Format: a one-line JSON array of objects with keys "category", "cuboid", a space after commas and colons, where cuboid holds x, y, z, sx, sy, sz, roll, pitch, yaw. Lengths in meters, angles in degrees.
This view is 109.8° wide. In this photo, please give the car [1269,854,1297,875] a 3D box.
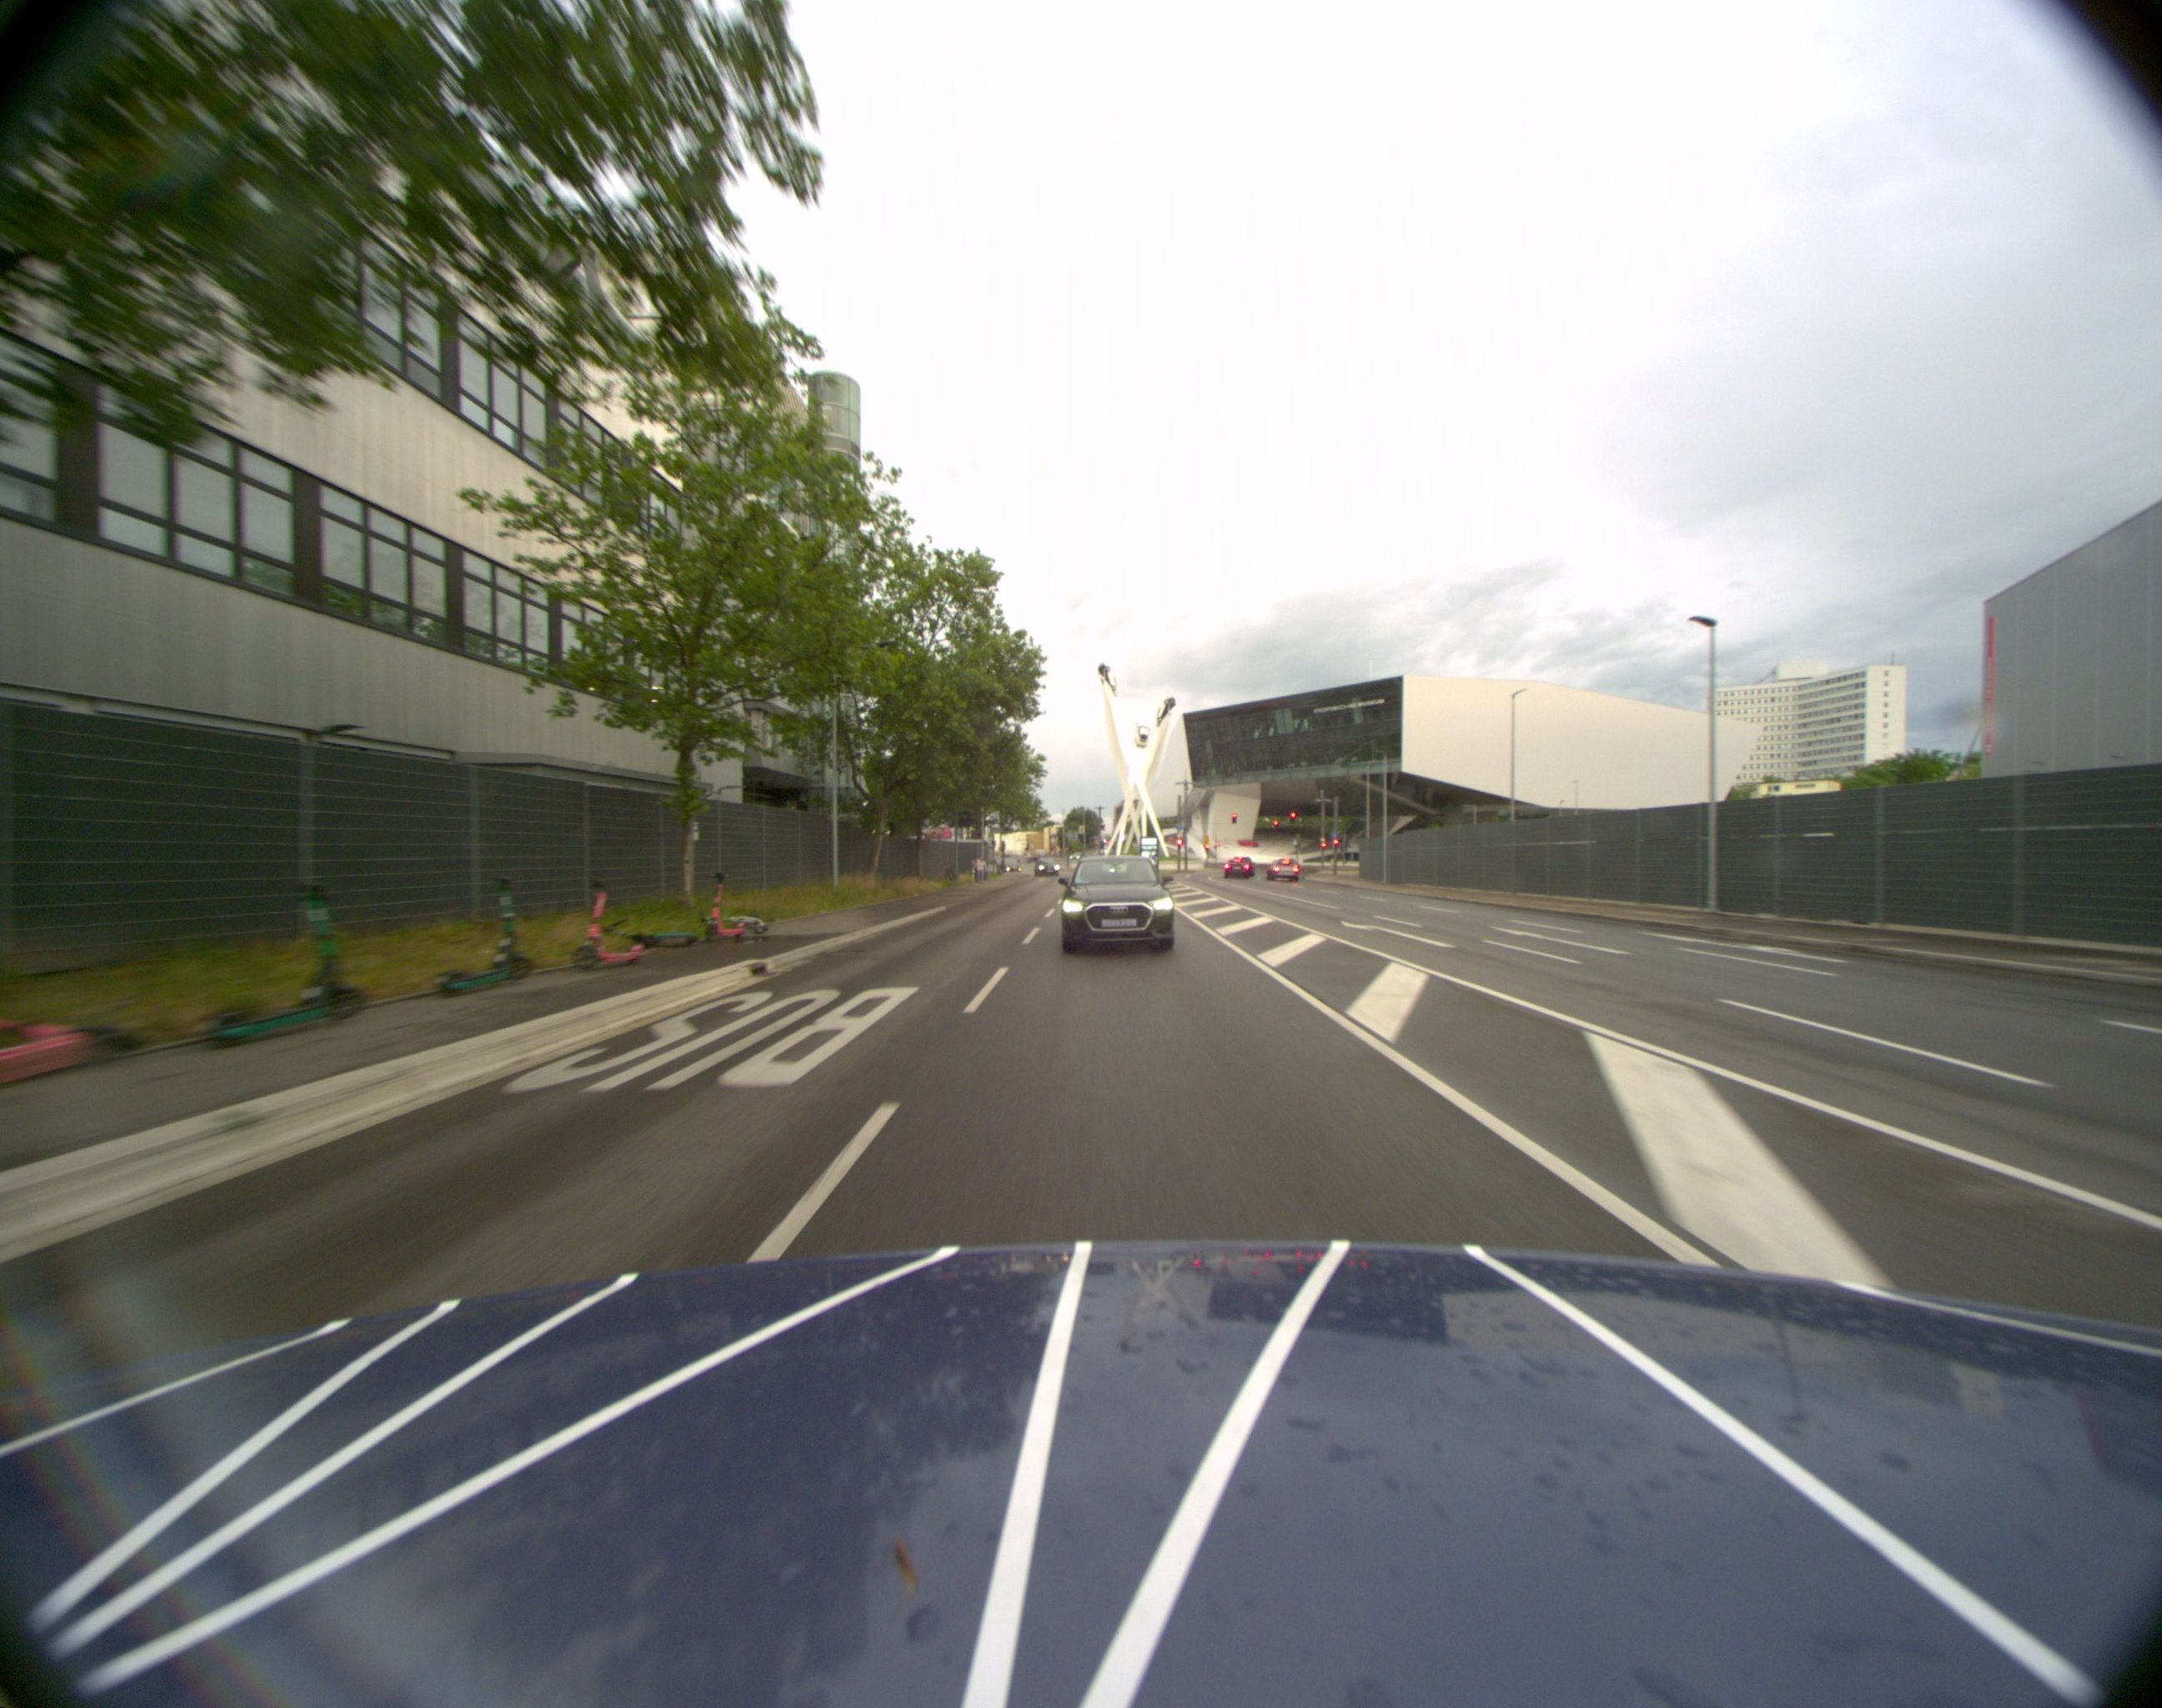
[{"category": "car", "cuboid": [16.437, 0.813, 61.683, 1.861, 1.641, 3.793, 0, 0, 21]}]

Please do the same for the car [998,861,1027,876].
[{"category": "car", "cuboid": [-7.295, 1.551, 80.661, 1.884, 1.509, 3.843, 1, 0, -24]}]

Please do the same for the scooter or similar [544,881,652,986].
[{"category": "scooter or similar", "cuboid": [-6.549, 1.034, 10.377, 0.437, 1.288, 1.368, 0, 0, 9]}]

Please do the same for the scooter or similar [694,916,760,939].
[{"category": "scooter or similar", "cuboid": [-7.206, 1.488, 15.460, 1.184, 0.309, 1.200, 0, 0, -27]}]

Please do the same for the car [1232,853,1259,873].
[{"category": "car", "cuboid": [13.895, 0.740, 63.929, 1.878, 1.641, 3.857, 0, 0, 18]}]

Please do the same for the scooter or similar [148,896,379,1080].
[{"category": "scooter or similar", "cuboid": [-6.664, 1.026, 6.283, 0.437, 1.288, 1.301, 0, 0, 5]}]

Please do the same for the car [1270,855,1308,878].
[{"category": "car", "cuboid": [14.244, 0.842, 51.921, 2.266, 1.469, 4.053, 0, 0, 19]}]

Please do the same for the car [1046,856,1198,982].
[{"category": "car", "cuboid": [0.541, 0.864, 12.548, 1.951, 1.609, 5.277, -1, 0, 0]}]

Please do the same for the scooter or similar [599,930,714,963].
[{"category": "scooter or similar", "cuboid": [-7.035, 1.519, 12.635, 1.098, 0.343, 1.260, 0, 0, 25]}]

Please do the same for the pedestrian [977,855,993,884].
[{"category": "pedestrian", "cuboid": [-5.507, 0.879, 43.660, 0.723, 1.657, 0.833, 2, 1, 1]}]

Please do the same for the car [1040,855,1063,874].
[{"category": "car", "cuboid": [-2.420, 0.887, 63.011, 1.881, 1.485, 4.076, 1, 0, -2]}]

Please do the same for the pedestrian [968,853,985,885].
[{"category": "pedestrian", "cuboid": [-5.510, 0.780, 40.105, 0.723, 1.610, 0.833, 2, 1, 1]}]

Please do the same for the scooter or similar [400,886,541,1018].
[{"category": "scooter or similar", "cuboid": [-6.709, 1.031, 8.425, 0.437, 1.288, 1.301, 0, 0, 5]}]

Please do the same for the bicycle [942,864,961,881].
[{"category": "bicycle", "cuboid": [-7.274, 1.024, 42.848, 0.727, 0.870, 1.905, -1, 1, 1]}]

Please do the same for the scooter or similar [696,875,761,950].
[{"category": "scooter or similar", "cuboid": [-6.503, 1.056, 14.085, 0.437, 1.277, 1.301, 0, 0, 9]}]

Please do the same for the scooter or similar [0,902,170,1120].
[{"category": "scooter or similar", "cuboid": [-6.872, 0.998, 4.869, 0.437, 1.288, 1.301, 0, 0, 5]}]

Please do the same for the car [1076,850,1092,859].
[{"category": "car", "cuboid": [0.501, 0.067, 132.250, 1.878, 1.509, 3.856, 1, 0, 14]}]

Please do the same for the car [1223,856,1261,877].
[{"category": "car", "cuboid": [12.073, 0.902, 56.758, 2.255, 1.469, 3.885, 0, 0, 19]}]
